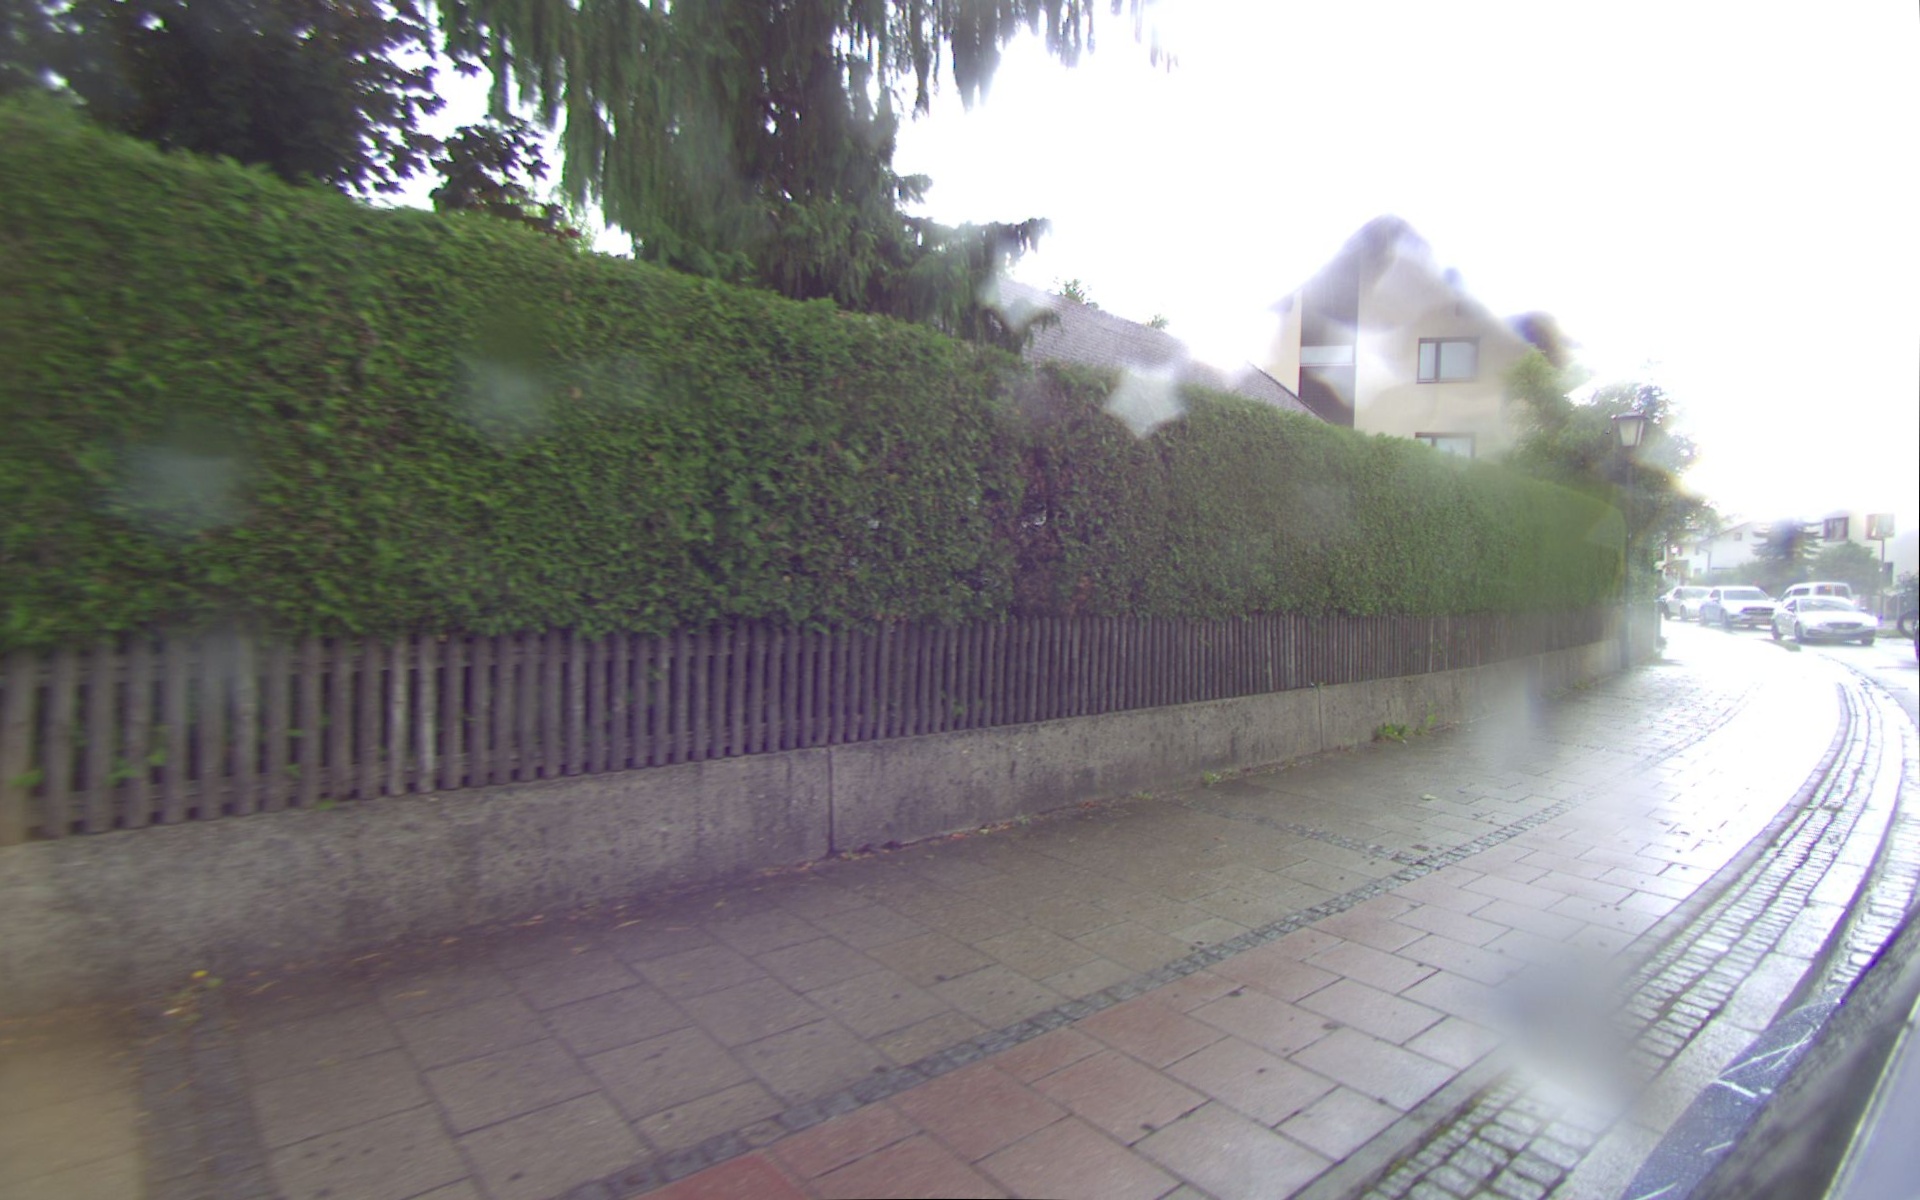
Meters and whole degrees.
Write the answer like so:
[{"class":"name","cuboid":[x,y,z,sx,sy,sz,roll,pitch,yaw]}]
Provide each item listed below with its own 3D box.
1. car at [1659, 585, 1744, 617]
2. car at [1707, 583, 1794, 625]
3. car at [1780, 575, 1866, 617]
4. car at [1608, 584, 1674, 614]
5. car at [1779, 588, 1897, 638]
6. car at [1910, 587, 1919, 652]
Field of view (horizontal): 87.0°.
[{"class":"car","cuboid":[34.261,0.010,46.884,1.770,1.391,4.259,-1,1,16]},{"class":"car","cuboid":[31.212,0.110,40.070,1.776,1.568,4.245,-1,1,25]},{"class":"car","cuboid":[38.368,-0.182,45.119,1.626,1.787,4.299,-1,0,22]},{"class":"car","cuboid":[37.313,-0.089,55.595,1.770,1.568,4.259,-1,1,16]},{"class":"car","cuboid":[26.842,0.361,31.089,1.778,1.412,4.240,-1,1,28]},{"class":"car","cuboid":[21.932,0.469,21.291,1.781,1.498,5.324,-1,1,32]}]
